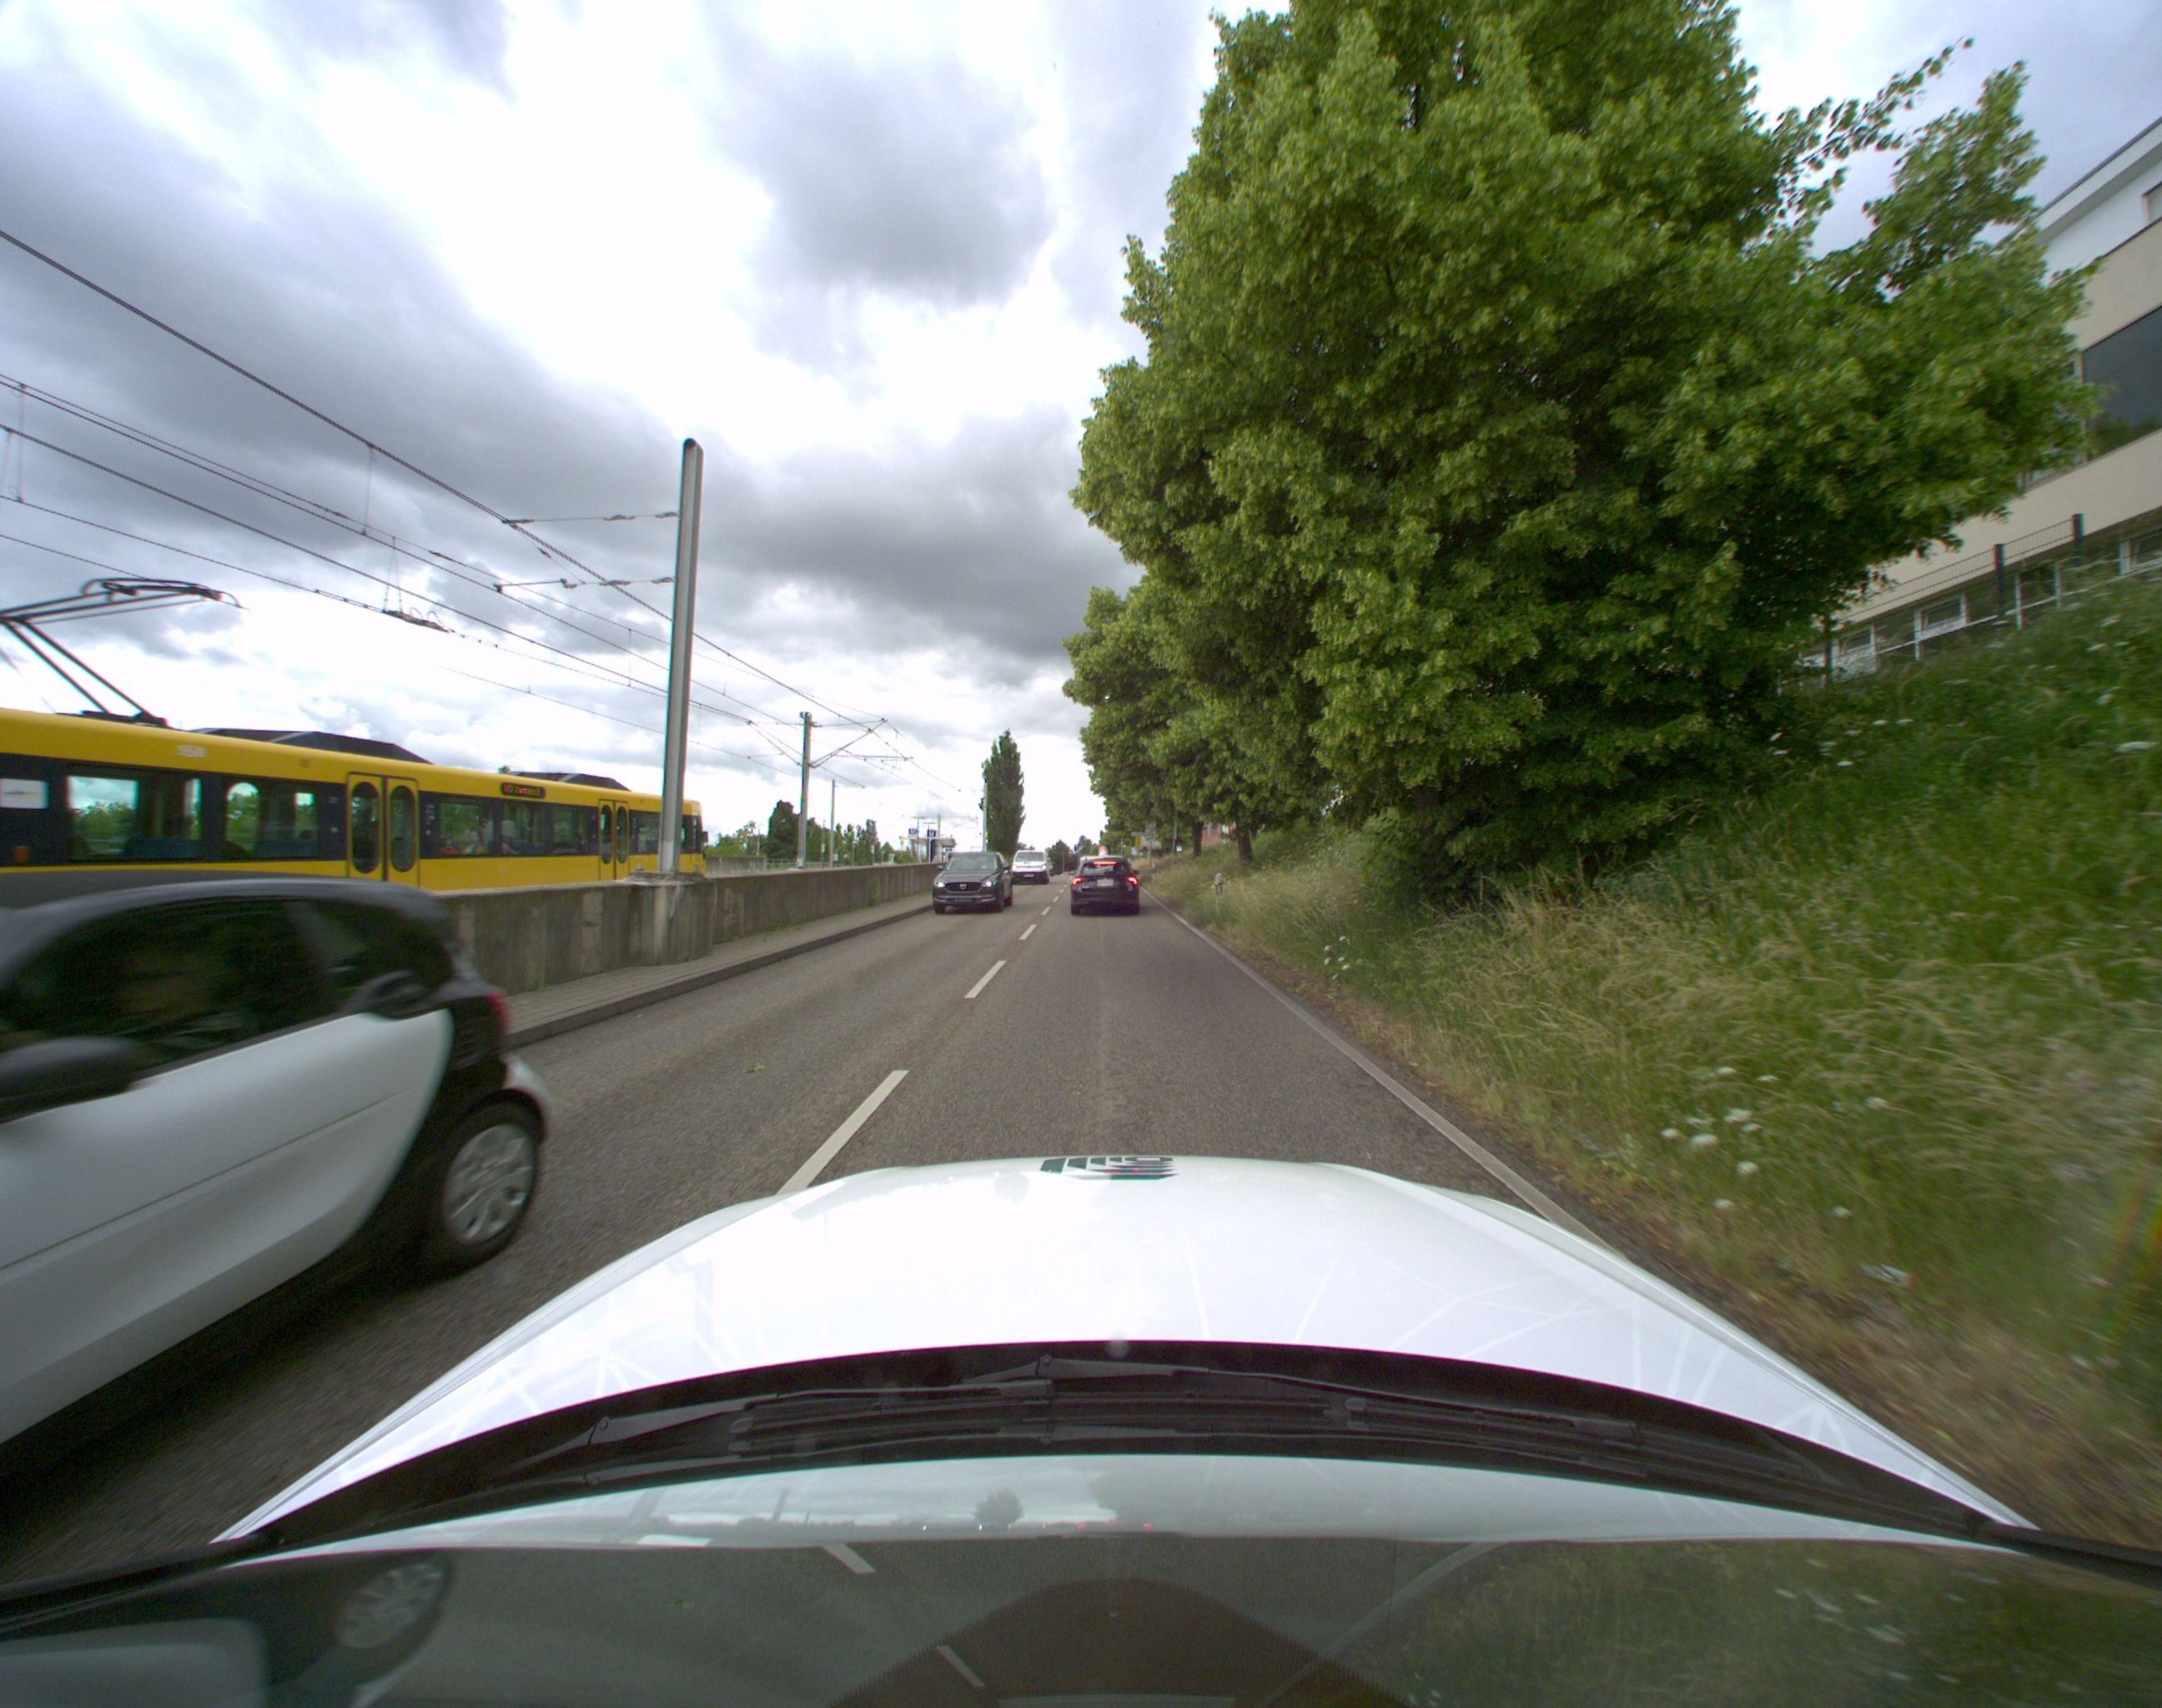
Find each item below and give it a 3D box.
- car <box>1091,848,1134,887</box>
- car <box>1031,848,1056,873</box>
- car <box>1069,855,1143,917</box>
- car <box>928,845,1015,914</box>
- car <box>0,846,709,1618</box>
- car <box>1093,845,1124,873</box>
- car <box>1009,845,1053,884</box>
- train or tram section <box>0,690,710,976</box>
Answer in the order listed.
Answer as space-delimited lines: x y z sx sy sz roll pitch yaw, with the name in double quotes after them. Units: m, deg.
1.520 0.620 39.741 1.986 1.753 4.002 -1 0 2 "car"
-3.160 0.517 69.508 1.987 2.013 3.999 -1 0 -1 "car"
0.679 0.785 21.811 1.774 1.468 4.002 -1 0 2 "car"
-3.036 0.661 23.435 1.904 1.768 4.306 -1 0 0 "car"
-3.118 0.788 2.967 1.727 1.572 3.997 -2 0 -2 "car"
1.833 0.344 54.361 1.986 1.740 4.002 -1 -1 2 "car"
-2.688 0.540 44.632 1.986 2.013 4.313 -1 0 1 "car"
-13.163 -0.119 17.252 2.789 3.022 18.861 -1 -1 -3 "train or tram section"
